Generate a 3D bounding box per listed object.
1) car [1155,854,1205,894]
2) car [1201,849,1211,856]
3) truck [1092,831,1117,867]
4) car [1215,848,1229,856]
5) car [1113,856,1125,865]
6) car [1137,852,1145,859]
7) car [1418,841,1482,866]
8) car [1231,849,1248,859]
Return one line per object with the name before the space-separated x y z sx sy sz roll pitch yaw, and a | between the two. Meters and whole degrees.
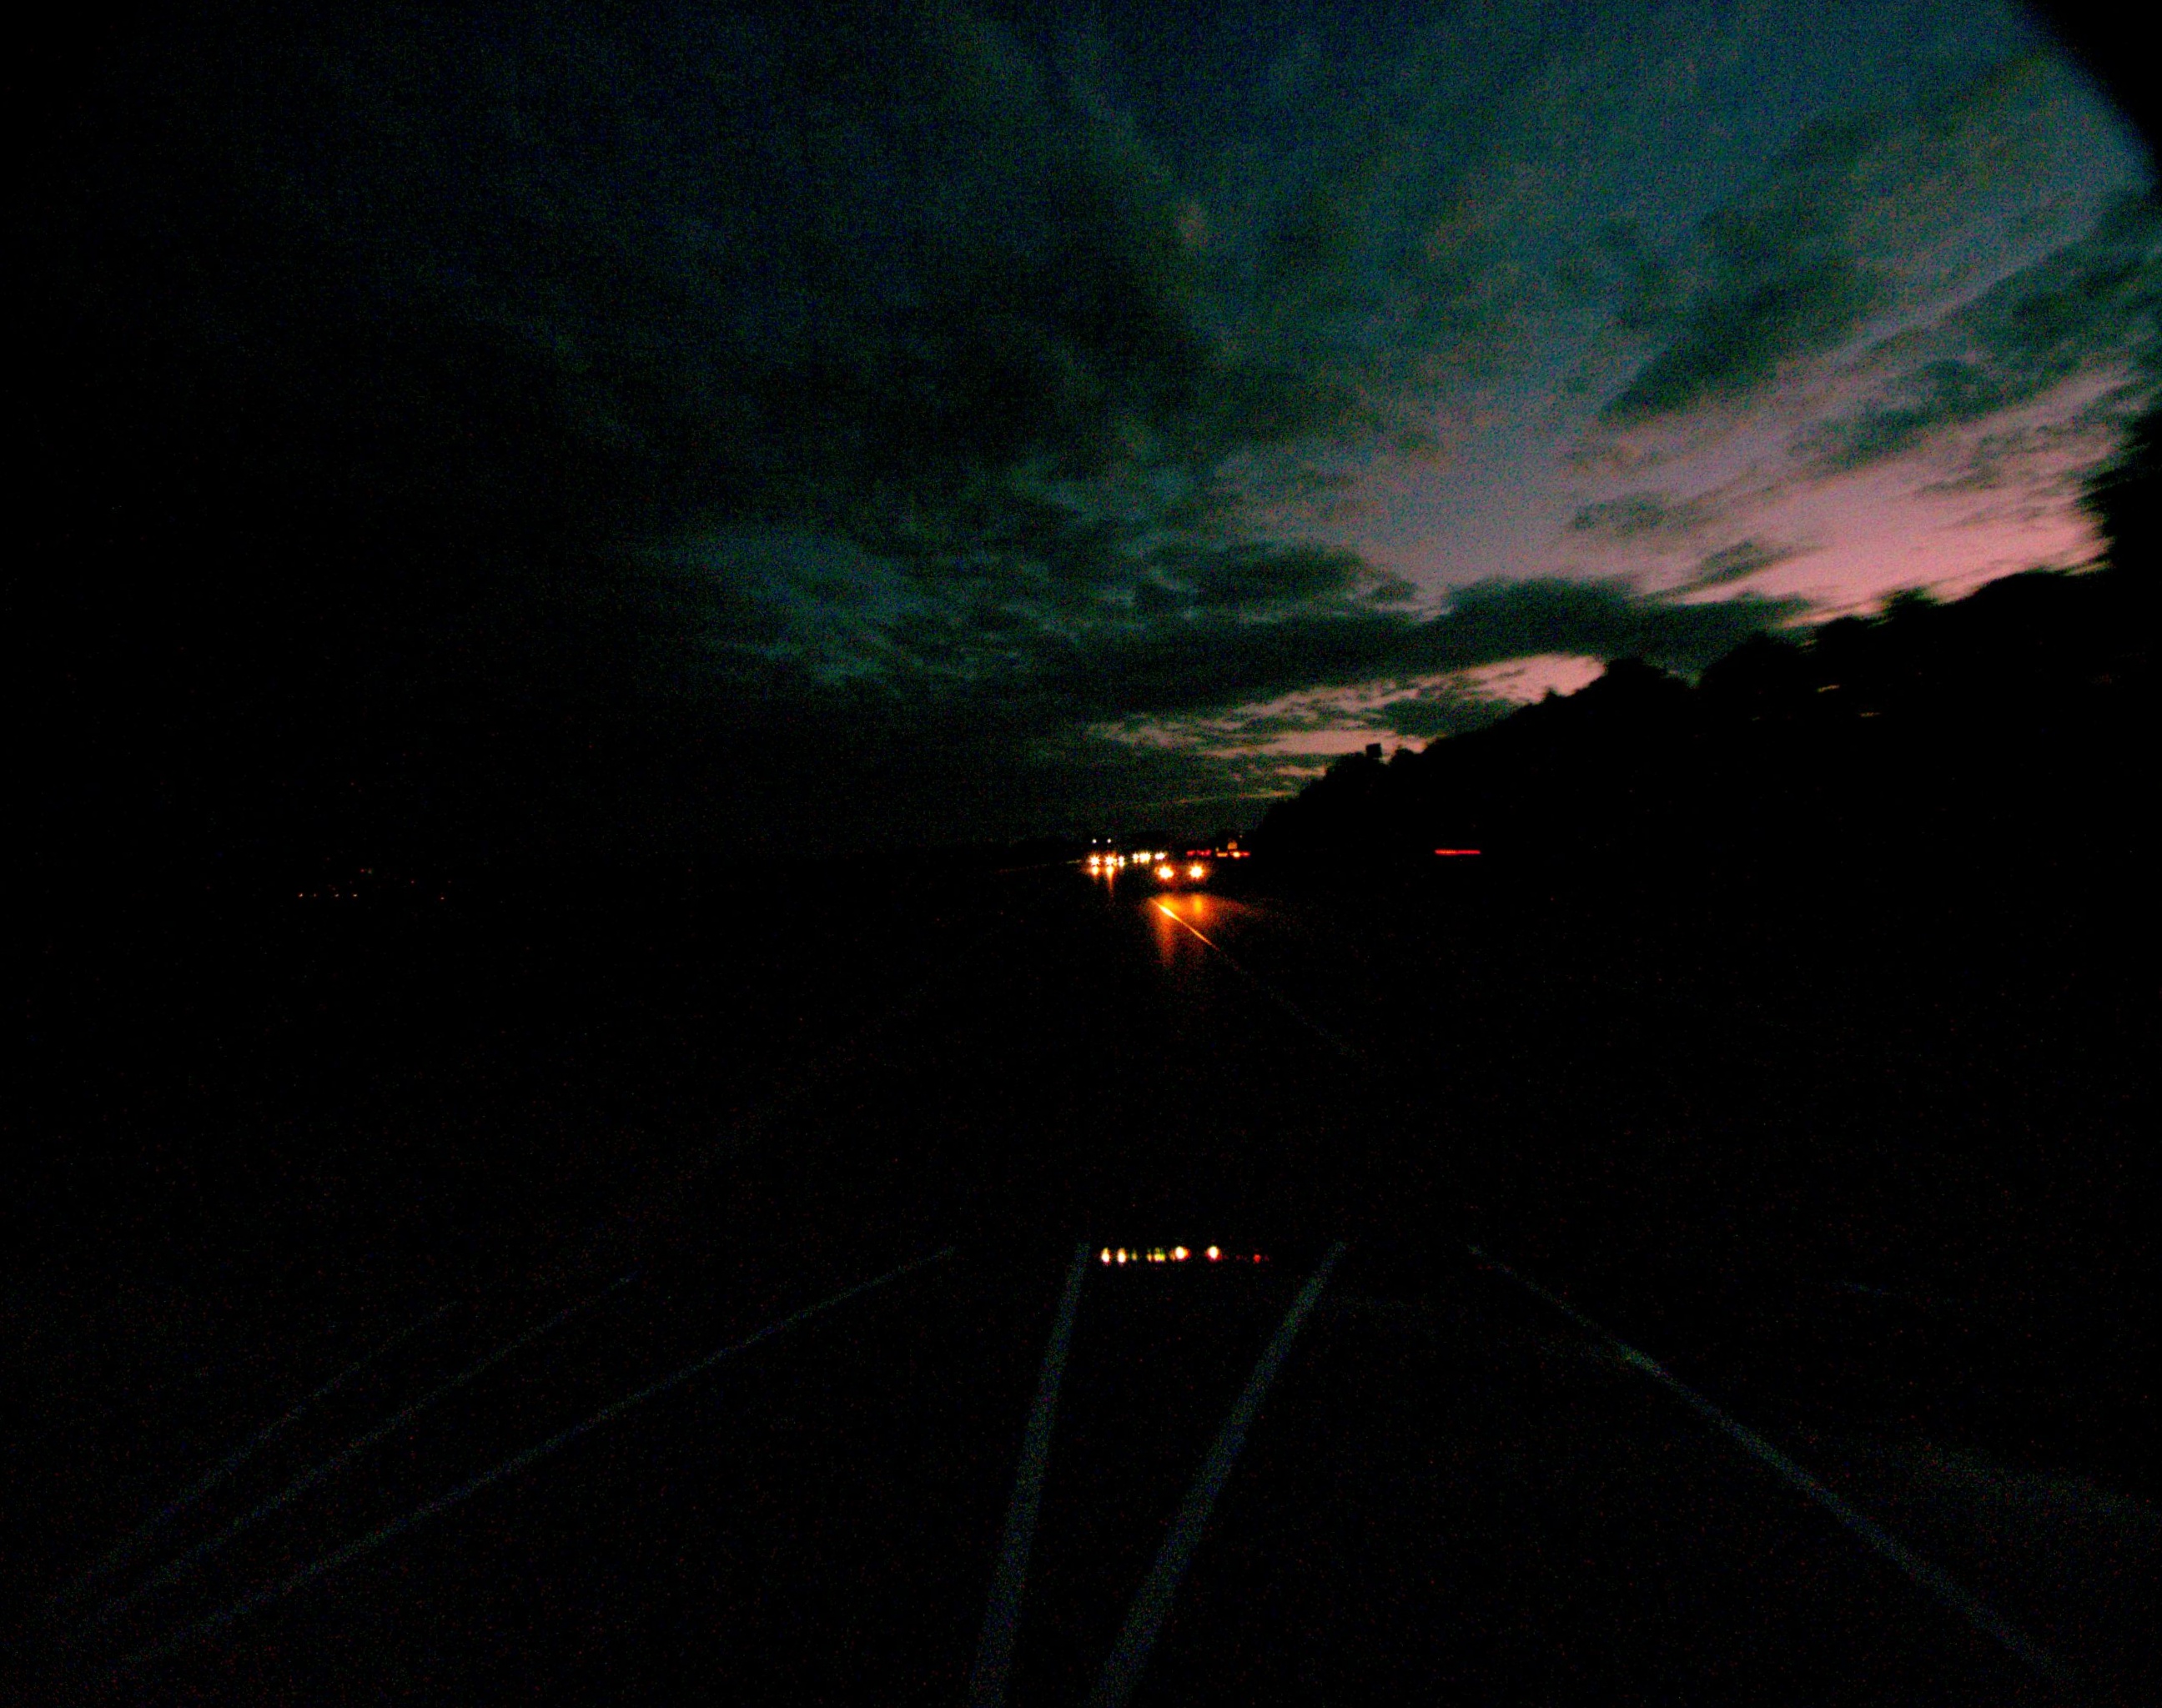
car | 4.149 0.800 32.307 1.717 1.471 4.000 -3 0 2
car | 31.028 -0.369 188.883 1.998 1.780 4.841 -3 0 3
truck | 3.039 -0.647 101.915 3.026 4.372 11.615 -3 0 1
car | 26.223 -0.344 141.571 1.998 1.444 3.835 -3 0 3
car | 7.629 1.260 150.509 1.997 1.715 4.002 -3 0 7
car | 14.486 0.410 182.752 1.652 1.654 3.777 -3 0 7
car | 23.974 -0.061 49.530 1.998 1.496 4.506 -3 0 2
car | 23.401 0.008 112.200 1.838 1.328 4.911 -3 0 5
